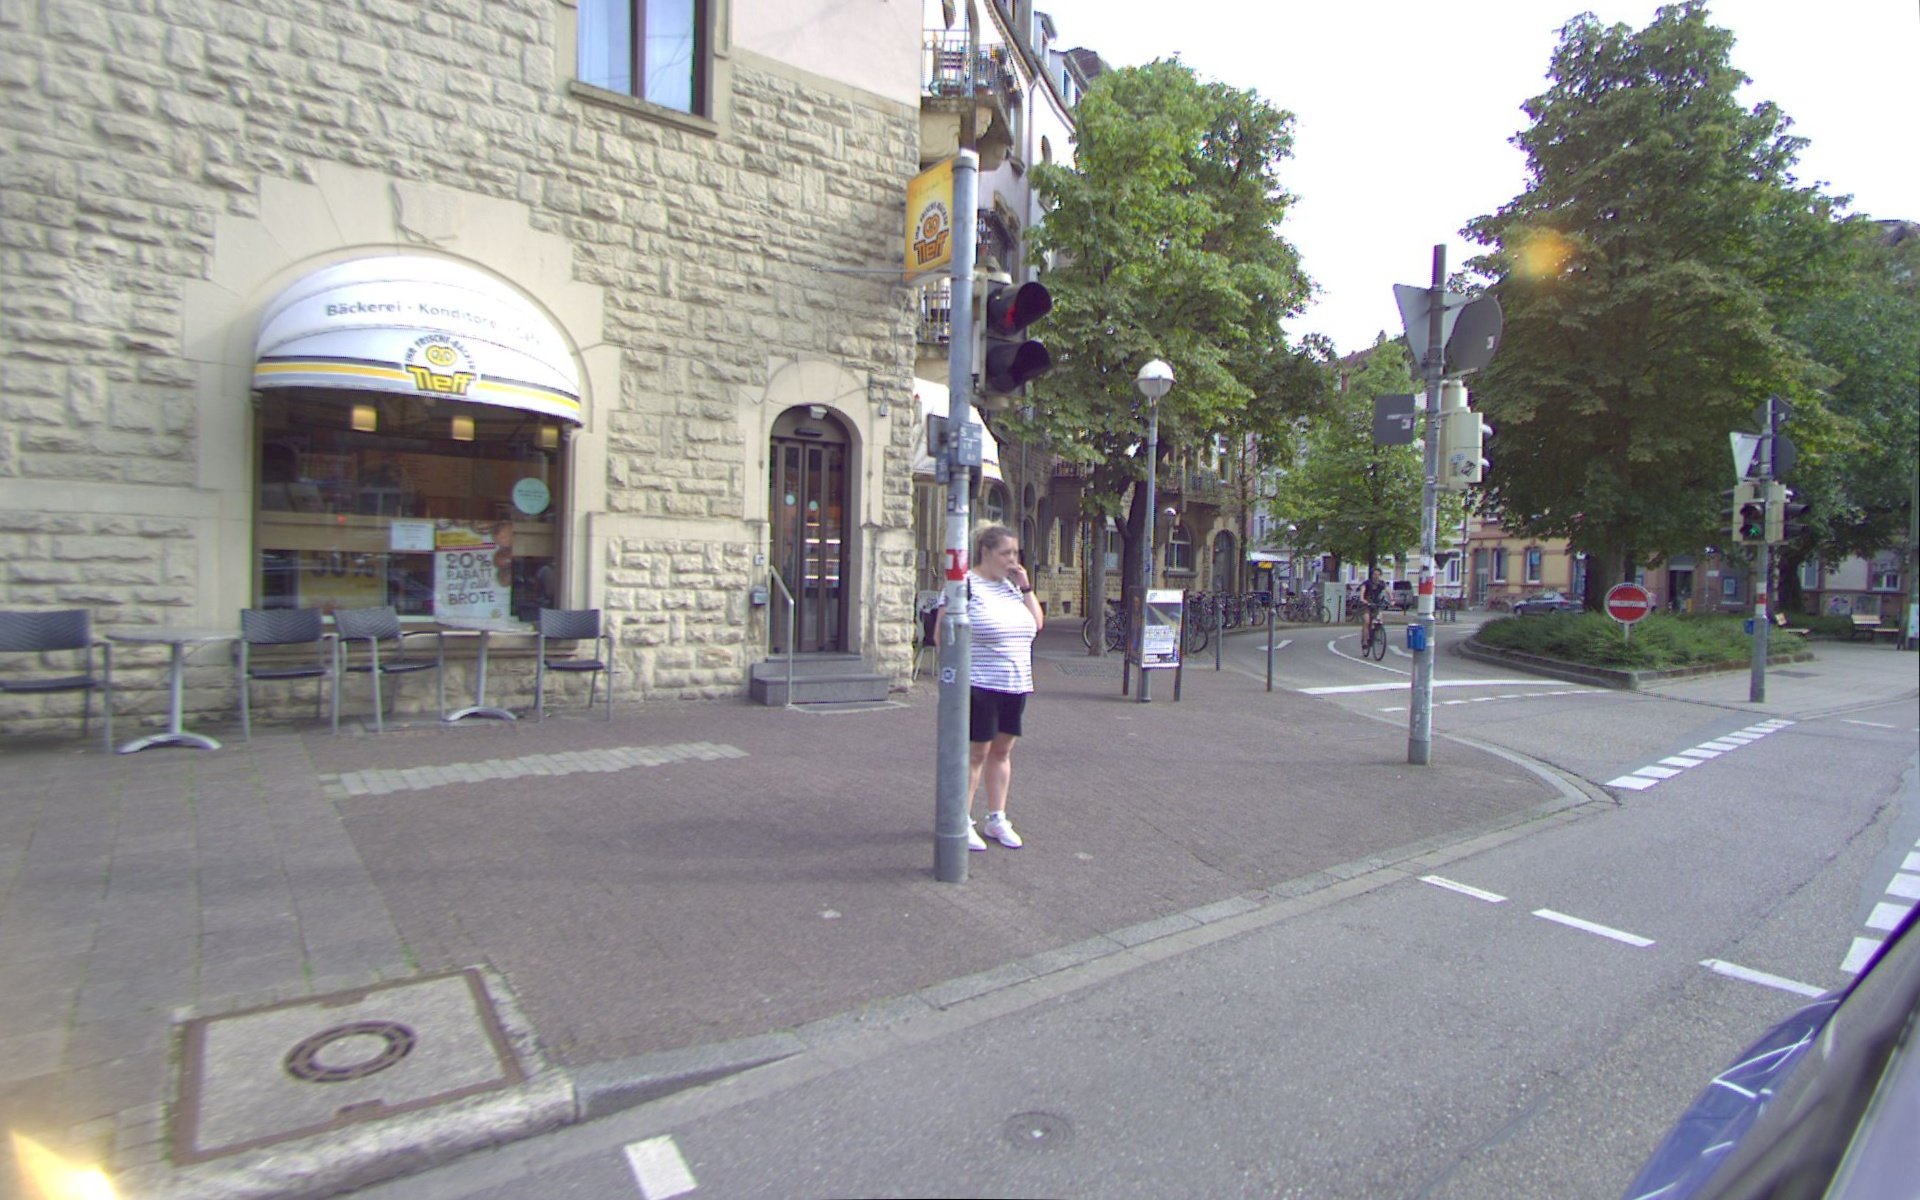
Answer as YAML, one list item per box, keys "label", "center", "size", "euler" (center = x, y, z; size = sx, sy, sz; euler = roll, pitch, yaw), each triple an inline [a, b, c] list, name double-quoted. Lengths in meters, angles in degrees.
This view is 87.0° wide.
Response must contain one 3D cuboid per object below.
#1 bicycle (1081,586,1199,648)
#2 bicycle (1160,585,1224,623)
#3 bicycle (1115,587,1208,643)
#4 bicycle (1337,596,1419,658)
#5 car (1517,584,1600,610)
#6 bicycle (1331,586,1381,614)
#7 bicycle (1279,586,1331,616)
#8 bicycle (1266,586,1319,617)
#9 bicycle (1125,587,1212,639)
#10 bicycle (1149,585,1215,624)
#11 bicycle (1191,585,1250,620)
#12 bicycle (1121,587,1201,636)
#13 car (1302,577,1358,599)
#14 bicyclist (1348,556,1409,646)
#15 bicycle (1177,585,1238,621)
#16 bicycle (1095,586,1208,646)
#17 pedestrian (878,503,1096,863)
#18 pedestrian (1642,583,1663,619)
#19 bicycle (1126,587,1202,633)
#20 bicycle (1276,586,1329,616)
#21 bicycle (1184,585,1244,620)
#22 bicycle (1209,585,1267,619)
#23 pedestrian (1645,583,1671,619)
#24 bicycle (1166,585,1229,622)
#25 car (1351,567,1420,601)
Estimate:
- label: "bicycle"
  center: [3.265, 0.308, 18.418]
  size: [2.008, 1.051, 0.483]
  euler: [2, 0, -4]
- label: "bicycle"
  center: [6.883, 0.109, 30.089]
  size: [1.776, 1.051, 0.478]
  euler: [2, 0, 27]
- label: "bicycle"
  center: [4.095, 0.298, 20.585]
  size: [1.760, 1.051, 0.482]
  euler: [2, 0, 2]
- label: "bicycle"
  center: [8.276, 0.492, 20.191]
  size: [0.872, 1.058, 3.088]
  euler: [2, 1, 11]
- label: "car"
  center: [30.832, -0.151, 52.251]
  size: [1.703, 1.282, 3.597]
  euler: [1, 1, -11]
- label: "bicycle"
  center: [15.610, 0.000, 39.918]
  size: [1.787, 1.051, 0.475]
  euler: [3, 0, 43]
- label: "bicycle"
  center: [13.061, 0.039, 38.362]
  size: [1.787, 1.051, 0.475]
  euler: [3, 0, 43]
- label: "bicycle"
  center: [12.187, 0.059, 37.084]
  size: [1.787, 1.051, 0.475]
  euler: [3, 0, 43]
- label: "bicycle"
  center: [4.557, 0.282, 22.196]
  size: [1.760, 1.051, 0.482]
  euler: [2, 0, 2]
- label: "bicycle"
  center: [6.395, 0.127, 29.227]
  size: [1.776, 1.051, 0.478]
  euler: [2, 0, 27]
- label: "bicycle"
  center: [8.486, 0.067, 32.970]
  size: [1.776, 1.051, 0.478]
  euler: [2, 0, 27]
- label: "bicycle"
  center: [4.660, 0.266, 23.523]
  size: [1.763, 1.051, 0.481]
  euler: [2, 0, 9]
- label: "car"
  center: [26.280, -0.845, 71.995]
  size: [1.702, 1.491, 3.967]
  euler: [1, 1, -16]
- label: "bicyclist"
  center: [8.293, 0.004, 20.115]
  size: [0.826, 1.711, 1.243]
  euler: [2, 1, 11]
- label: "bicycle"
  center: [7.735, 0.089, 31.647]
  size: [1.776, 1.051, 0.478]
  euler: [2, 0, 27]
- label: "bicycle"
  center: [3.626, 0.306, 19.219]
  size: [2.008, 1.051, 0.483]
  euler: [2, 0, -4]
- label: "pedestrian"
  center: [0.128, 0.373, 5.271]
  size: [0.746, 1.680, 0.721]
  euler: [0, 5, -39]
- label: "pedestrian"
  center: [32.931, 0.041, 48.130]
  size: [0.629, 1.715, 0.612]
  euler: [0, 1, -40]
- label: "bicycle"
  center: [4.992, 0.247, 24.885]
  size: [1.763, 1.051, 0.481]
  euler: [2, 0, 9]
- label: "bicycle"
  center: [12.728, 0.031, 37.640]
  size: [1.787, 1.051, 0.475]
  euler: [3, 0, 43]
- label: "bicycle"
  center: [8.108, 0.078, 32.338]
  size: [1.776, 1.051, 0.478]
  euler: [2, 0, 27]
- label: "bicycle"
  center: [9.370, 0.062, 34.117]
  size: [1.776, 1.051, 0.478]
  euler: [2, 0, 27]
- label: "pedestrian"
  center: [33.664, 0.031, 48.812]
  size: [0.765, 1.715, 0.790]
  euler: [0, 1, -38]
- label: "bicycle"
  center: [7.213, 0.096, 30.747]
  size: [1.776, 1.051, 0.478]
  euler: [2, 0, 27]
- label: "car"
  center: [27.879, -1.038, 66.496]
  size: [1.702, 2.143, 4.555]
  euler: [1, 1, -16]
